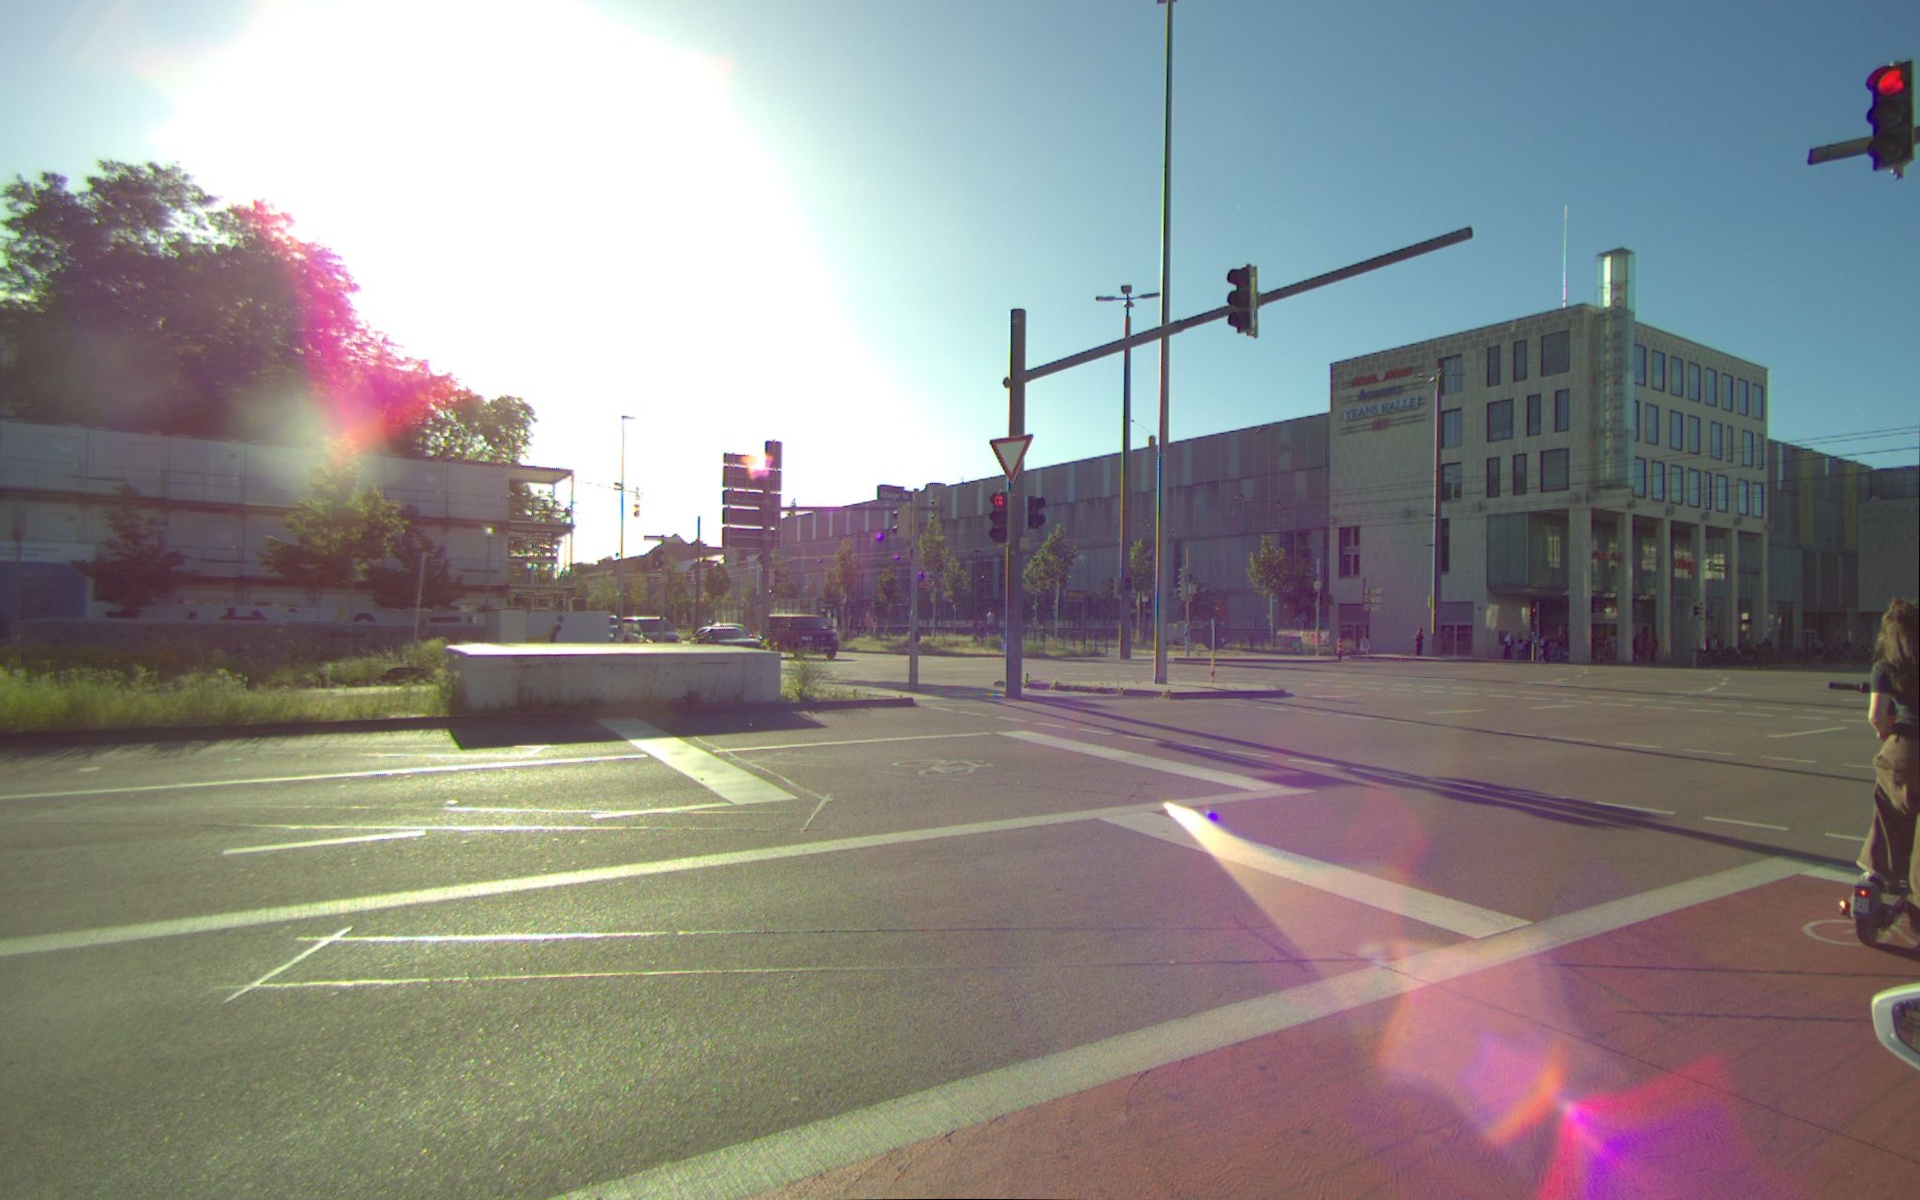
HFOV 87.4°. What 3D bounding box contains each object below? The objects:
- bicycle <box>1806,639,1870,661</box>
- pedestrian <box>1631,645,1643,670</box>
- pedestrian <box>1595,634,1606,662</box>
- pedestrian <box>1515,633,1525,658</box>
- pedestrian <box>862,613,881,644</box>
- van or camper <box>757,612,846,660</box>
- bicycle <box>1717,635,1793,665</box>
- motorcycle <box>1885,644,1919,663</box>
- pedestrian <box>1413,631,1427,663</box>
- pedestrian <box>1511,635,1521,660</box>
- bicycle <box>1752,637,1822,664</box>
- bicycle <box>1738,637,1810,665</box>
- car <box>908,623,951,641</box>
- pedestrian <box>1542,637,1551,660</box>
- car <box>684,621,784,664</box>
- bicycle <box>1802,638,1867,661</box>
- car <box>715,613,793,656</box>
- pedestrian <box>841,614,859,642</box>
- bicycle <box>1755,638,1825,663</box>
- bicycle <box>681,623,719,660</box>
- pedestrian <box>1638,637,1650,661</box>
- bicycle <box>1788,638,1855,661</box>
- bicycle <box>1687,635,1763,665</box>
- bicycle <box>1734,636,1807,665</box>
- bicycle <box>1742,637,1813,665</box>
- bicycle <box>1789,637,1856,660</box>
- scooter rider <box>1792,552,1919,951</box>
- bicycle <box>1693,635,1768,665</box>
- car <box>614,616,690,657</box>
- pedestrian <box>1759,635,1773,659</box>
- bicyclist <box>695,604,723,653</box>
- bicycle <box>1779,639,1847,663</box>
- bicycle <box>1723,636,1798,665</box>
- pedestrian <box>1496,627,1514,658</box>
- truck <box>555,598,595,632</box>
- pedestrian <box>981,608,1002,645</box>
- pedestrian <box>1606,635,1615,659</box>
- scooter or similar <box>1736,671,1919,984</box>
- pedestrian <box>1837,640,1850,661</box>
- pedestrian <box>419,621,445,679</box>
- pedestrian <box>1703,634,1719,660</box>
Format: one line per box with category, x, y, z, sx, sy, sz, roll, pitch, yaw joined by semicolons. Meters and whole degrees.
bicycle;64.509;3.643;73.852;0.979;1.547;3.462;2;-2;-40
pedestrian;44.273;3.742;65.671;0.508;1.606;0.479;1;-1;-34
pedestrian;37.703;2.817;59.133;0.532;1.664;0.549;0;-1;28
pedestrian;35.733;2.900;64.109;0.452;1.586;0.419;1;-1;-33
pedestrian;-5.401;1.726;61.110;0.889;1.855;0.787;1;-1;-35
van or camper;-7.253;1.593;45.566;1.981;2.040;4.821;1;-2;-36
bicycle;48.218;3.011;60.939;1.107;1.719;3.465;1;-2;-38
motorcycle;70.749;4.015;75.085;0.713;1.335;2.260;1;-2;-34
pedestrian;24.460;2.490;53.400;0.543;1.716;0.521;1;-1;-40
pedestrian;35.555;3.021;64.213;0.452;1.586;0.420;1;-1;-30
bicycle;54.508;3.319;66.253;0.979;1.719;3.462;1;-2;-40
bicycle;51.949;3.225;64.159;0.979;1.719;3.462;1;-2;-40
car;-2.981;3.076;96.910;1.980;1.628;4.437;2;-2;-35
pedestrian;37.003;3.068;63.380;0.381;1.445;0.500;0;-1;38
car;-9.395;1.705;41.513;2.313;1.671;4.821;1;-2;-37
bicycle;63.709;3.587;73.204;0.979;1.547;3.462;2;-2;-40
car;-10.387;1.697;50.419;1.981;2.040;4.821;1;-2;-36
pedestrian;-7.170;1.825;65.681;0.889;1.855;0.787;1;-1;-35
bicycle;55.259;3.327;66.922;0.979;1.547;3.462;2;-2;-40
bicycle;-14.786;2.331;57.145;1.007;2.040;3.472;1;-2;-33
pedestrian;44.922;3.213;65.983;0.508;1.530;0.479;1;-1;-34
bicycle;60.385;3.432;70.472;0.979;1.547;3.462;2;-2;-40
bicycle;45.702;2.975;60.033;1.107;1.719;3.465;1;-2;-38
bicycle;51.123;3.188;63.425;0.979;1.719;3.462;1;-2;-40
bicycle;52.862;3.257;64.963;0.979;1.719;3.462;1;-2;-40
bicycle;61.191;3.449;71.303;0.979;1.547;3.462;2;-2;-40
scooter rider;4.623;0.690;4.828;0.801;1.798;0.725;1;-1;-30
bicycle;46.602;2.990;60.816;1.107;1.719;3.465;1;-2;-38
car;-14.822;1.705;48.139;1.981;1.849;4.821;1;-2;-36
pedestrian;57.158;3.351;71.198;0.689;1.664;0.648;1;-1;-38
bicyclist;-13.951;1.597;55.903;1.007;2.677;1.610;1;-1;-34
bicycle;58.877;3.477;69.390;0.979;1.547;3.462;2;-2;-40
bicycle;49.147;3.078;61.740;1.107;1.719;3.465;1;-2;-38
pedestrian;32.912;2.569;60.665;0.729;1.822;0.752;1;-1;-34
truck;-33.475;1.329;87.251;1.979;2.875;6.293;1;-2;-33
pedestrian;1.588;1.317;50.594;0.788;1.855;0.706;1;-1;-37
pedestrian;43.745;3.135;67.539;0.363;1.606;0.384;1;-1;-34
scooter or similar;4.506;0.982;4.783;1.645;1.218;0.725;1;-1;-30
pedestrian;70.322;4.001;79.931;0.689;1.664;0.691;1;-1;-41
pedestrian;-15.573;1.463;29.627;0.619;1.674;0.935;1;-1;-30
pedestrian;49.849;3.107;66.652;0.773;1.664;0.693;0;-1;32
